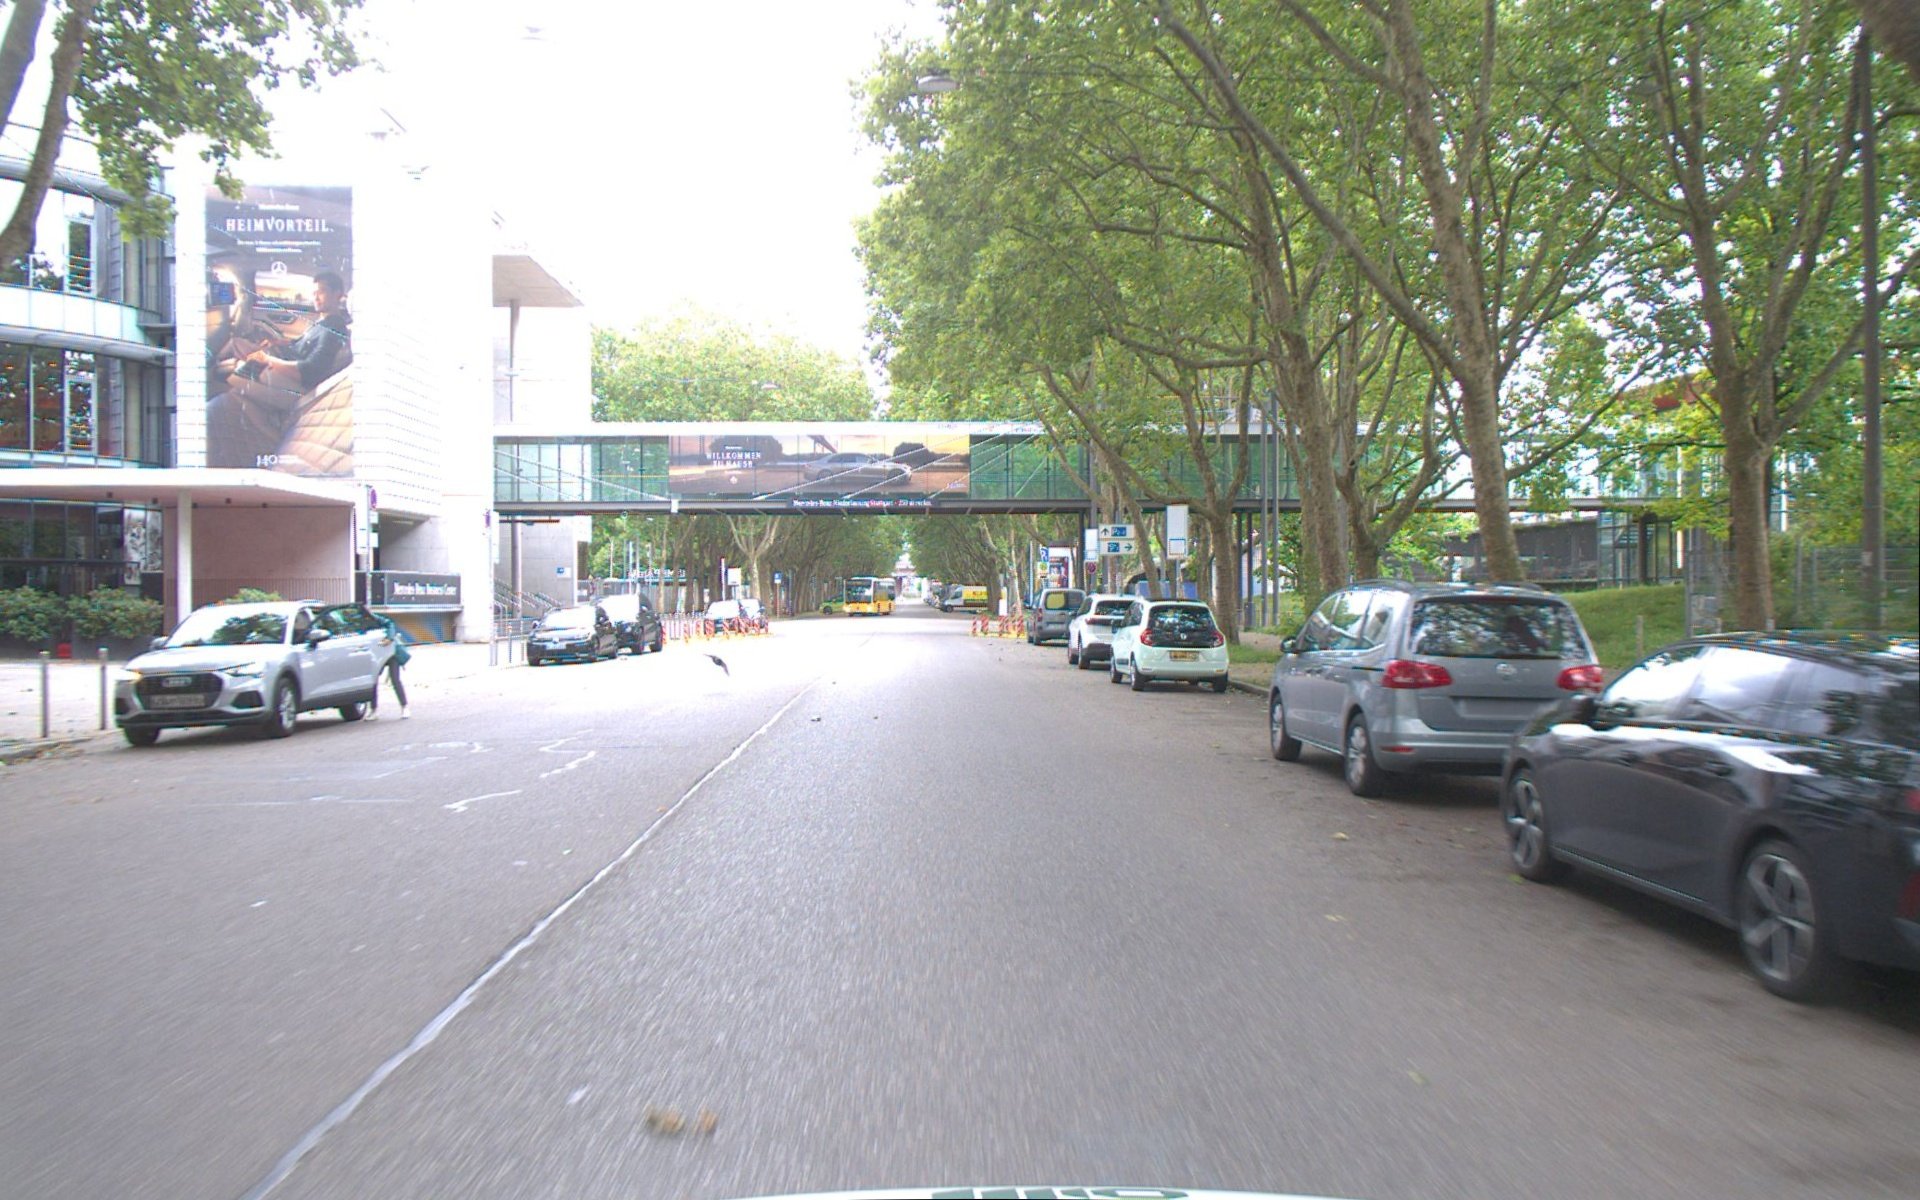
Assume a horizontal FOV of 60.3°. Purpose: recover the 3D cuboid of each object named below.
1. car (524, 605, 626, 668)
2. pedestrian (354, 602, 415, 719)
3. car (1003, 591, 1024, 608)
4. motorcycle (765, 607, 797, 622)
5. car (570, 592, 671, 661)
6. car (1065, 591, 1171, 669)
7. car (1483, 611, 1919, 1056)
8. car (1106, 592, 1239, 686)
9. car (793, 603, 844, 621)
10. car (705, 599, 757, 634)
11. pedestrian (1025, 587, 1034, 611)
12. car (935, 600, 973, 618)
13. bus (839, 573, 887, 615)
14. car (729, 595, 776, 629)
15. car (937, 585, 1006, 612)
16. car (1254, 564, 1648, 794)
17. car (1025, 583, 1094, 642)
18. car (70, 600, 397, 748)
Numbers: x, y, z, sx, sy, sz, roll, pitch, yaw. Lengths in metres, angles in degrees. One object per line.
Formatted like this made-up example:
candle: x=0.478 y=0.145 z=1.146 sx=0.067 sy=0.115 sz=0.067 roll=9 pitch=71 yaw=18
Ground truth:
car: x=-10.024 y=0.918 z=43.335 sx=1.670 sy=1.444 sz=4.323 roll=-3 pitch=0 yaw=-1
pedestrian: x=-7.506 y=0.783 z=21.583 sx=0.571 sy=1.492 sz=0.567 roll=1 pitch=0 yaw=2
car: x=5.661 y=-0.081 z=175.188 sx=1.953 sy=1.803 sz=3.999 roll=0 pitch=0 yaw=-1
motorcycle: x=-14.618 y=1.172 z=134.990 sx=2.559 sy=1.143 sz=0.698 roll=0 pitch=0 yaw=-26
car: x=-10.034 y=0.733 z=49.255 sx=1.993 sy=1.820 sz=4.907 roll=-3 pitch=0 yaw=-1
car: x=3.510 y=0.643 z=37.547 sx=1.875 sy=1.646 sz=4.747 roll=0 pitch=0 yaw=-1
car: x=4.133 y=0.806 z=7.830 sx=1.839 sy=1.452 sz=4.479 roll=0 pitch=0 yaw=-1
car: x=3.721 y=0.649 z=29.546 sx=1.771 sy=1.553 sz=4.094 roll=0 pitch=0 yaw=-1
car: x=-13.097 y=1.113 z=153.438 sx=4.604 sy=1.612 sz=1.864 roll=0 pitch=0 yaw=-1
car: x=-10.765 y=0.752 z=78.022 sx=1.821 sy=1.478 sz=4.447 roll=-3 pitch=0 yaw=-1
pedestrian: x=5.704 y=-0.077 z=135.762 sx=0.562 sy=1.921 sz=0.615 roll=0 pitch=0 yaw=-10
car: x=-0.671 y=0.946 z=171.303 sx=3.907 sy=1.825 sz=1.542 roll=0 pitch=0 yaw=-2
bus: x=-8.026 y=-0.492 z=138.767 sx=2.976 sy=3.215 sz=12.678 roll=-2 pitch=0 yaw=1
car: x=-10.903 y=0.599 z=86.964 sx=1.953 sy=1.612 sz=4.112 roll=-3 pitch=0 yaw=-1
car: x=1.165 y=-0.170 z=163.911 sx=6.688 sy=2.557 sz=2.315 roll=0 pitch=0 yaw=-4
car: x=4.096 y=0.596 z=14.731 sx=1.942 sy=1.709 sz=4.729 roll=0 pitch=0 yaw=-2
car: x=3.180 y=0.391 z=53.696 sx=1.810 sy=1.814 sz=5.209 roll=1 pitch=0 yaw=-1
car: x=-8.790 y=0.813 z=20.546 sx=2.031 sy=1.590 sz=4.755 roll=0 pitch=0 yaw=-1
